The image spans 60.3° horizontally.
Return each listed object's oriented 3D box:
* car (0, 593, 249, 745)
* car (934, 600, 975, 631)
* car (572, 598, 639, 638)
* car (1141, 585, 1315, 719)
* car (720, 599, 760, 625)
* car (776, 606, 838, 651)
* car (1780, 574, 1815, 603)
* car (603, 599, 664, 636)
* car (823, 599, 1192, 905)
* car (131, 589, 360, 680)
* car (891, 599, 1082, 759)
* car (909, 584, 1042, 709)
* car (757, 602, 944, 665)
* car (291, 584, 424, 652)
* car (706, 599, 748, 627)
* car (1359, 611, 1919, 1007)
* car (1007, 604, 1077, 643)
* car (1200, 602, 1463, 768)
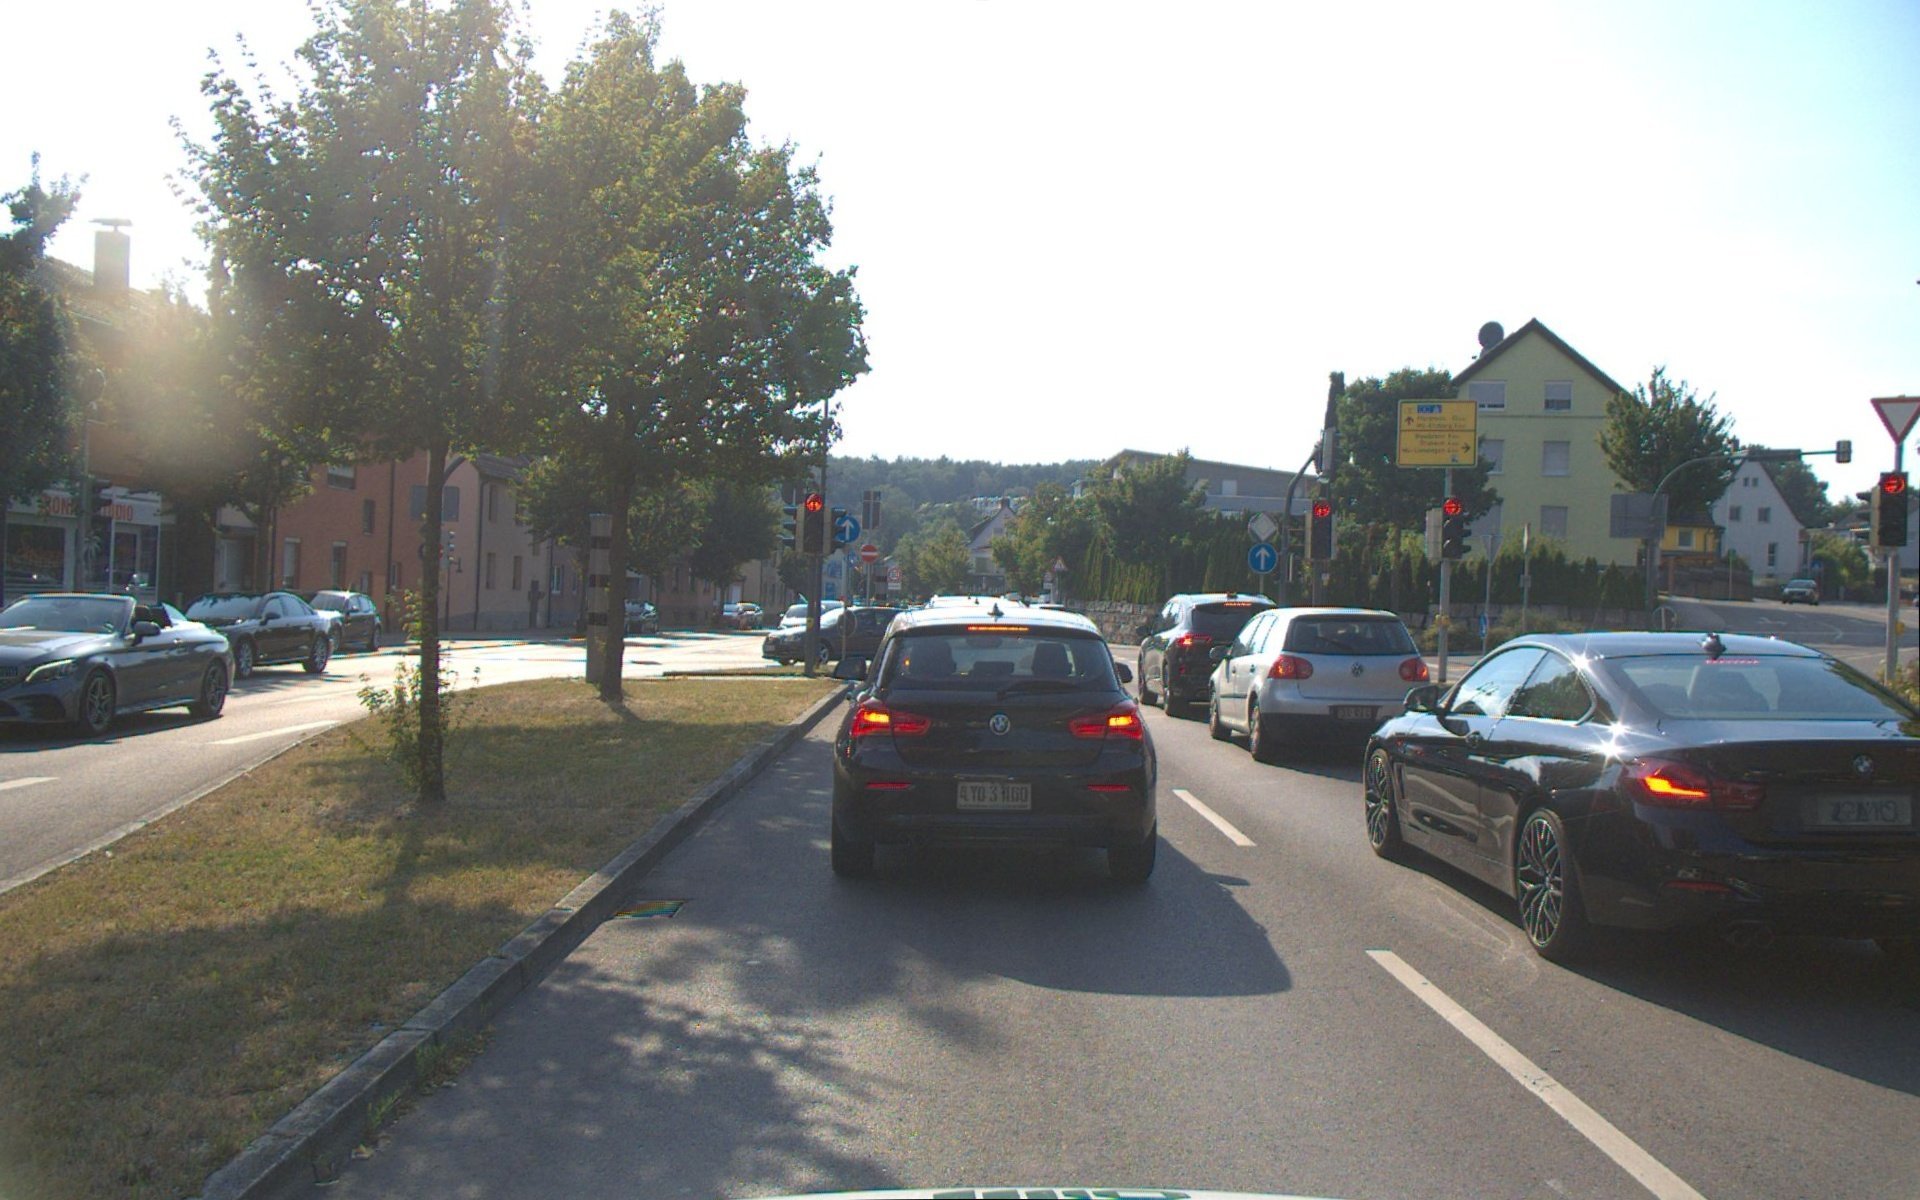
[{"bbox_3d":[-9.226,0.630,17.404,1.745,1.373,4.475,1,0,-3],"label":"car"},{"bbox_3d":[-0.336,0.848,92.476,1.854,1.732,4.517,0,0,-6],"label":"car"},{"bbox_3d":[-15.023,0.730,70.234,1.884,1.624,4.000,1,0,1],"label":"car"},{"bbox_3d":[3.687,0.662,23.447,1.779,1.695,4.347,1,0,1],"label":"car"},{"bbox_3d":[-14.068,0.742,105.901,1.884,1.624,4.000,1,0,1],"label":"car"},{"bbox_3d":[-5.370,0.969,58.348,1.730,1.484,4.000,1,0,1],"label":"car"},{"bbox_3d":[50.855,-0.705,100.417,1.752,1.533,4.064,1,4,29],"label":"car"},{"bbox_3d":[-14.901,0.765,75.631,1.884,1.624,4.000,1,0,1],"label":"car"},{"bbox_3d":[0.252,0.729,10.129,1.754,1.439,4.347,1,0,1],"label":"car"},{"bbox_3d":[-12.468,0.561,29.220,1.804,1.446,4.646,1,0,3],"label":"car"},{"bbox_3d":[0.273,0.745,17.680,1.779,1.476,4.242,1,0,1],"label":"car"},{"bbox_3d":[0.236,0.632,24.618,1.779,1.670,4.242,1,0,1],"label":"car"},{"bbox_3d":[-2.586,0.804,39.215,4.125,1.411,1.636,1,0,-27],"label":"car"},{"bbox_3d":[-15.622,0.455,43.122,1.805,1.579,4.001,3,0,2],"label":"car"},{"bbox_3d":[-14.101,0.746,100.395,1.884,1.624,4.000,1,0,1],"label":"car"},{"bbox_3d":[3.397,0.790,8.282,1.779,1.413,4.347,1,0,1],"label":"car"},{"bbox_3d":[3.416,0.977,69.887,1.829,1.511,4.645,1,0,-12],"label":"car"},{"bbox_3d":[3.691,0.771,17.196,1.779,1.471,4.347,1,0,1],"label":"car"}]
